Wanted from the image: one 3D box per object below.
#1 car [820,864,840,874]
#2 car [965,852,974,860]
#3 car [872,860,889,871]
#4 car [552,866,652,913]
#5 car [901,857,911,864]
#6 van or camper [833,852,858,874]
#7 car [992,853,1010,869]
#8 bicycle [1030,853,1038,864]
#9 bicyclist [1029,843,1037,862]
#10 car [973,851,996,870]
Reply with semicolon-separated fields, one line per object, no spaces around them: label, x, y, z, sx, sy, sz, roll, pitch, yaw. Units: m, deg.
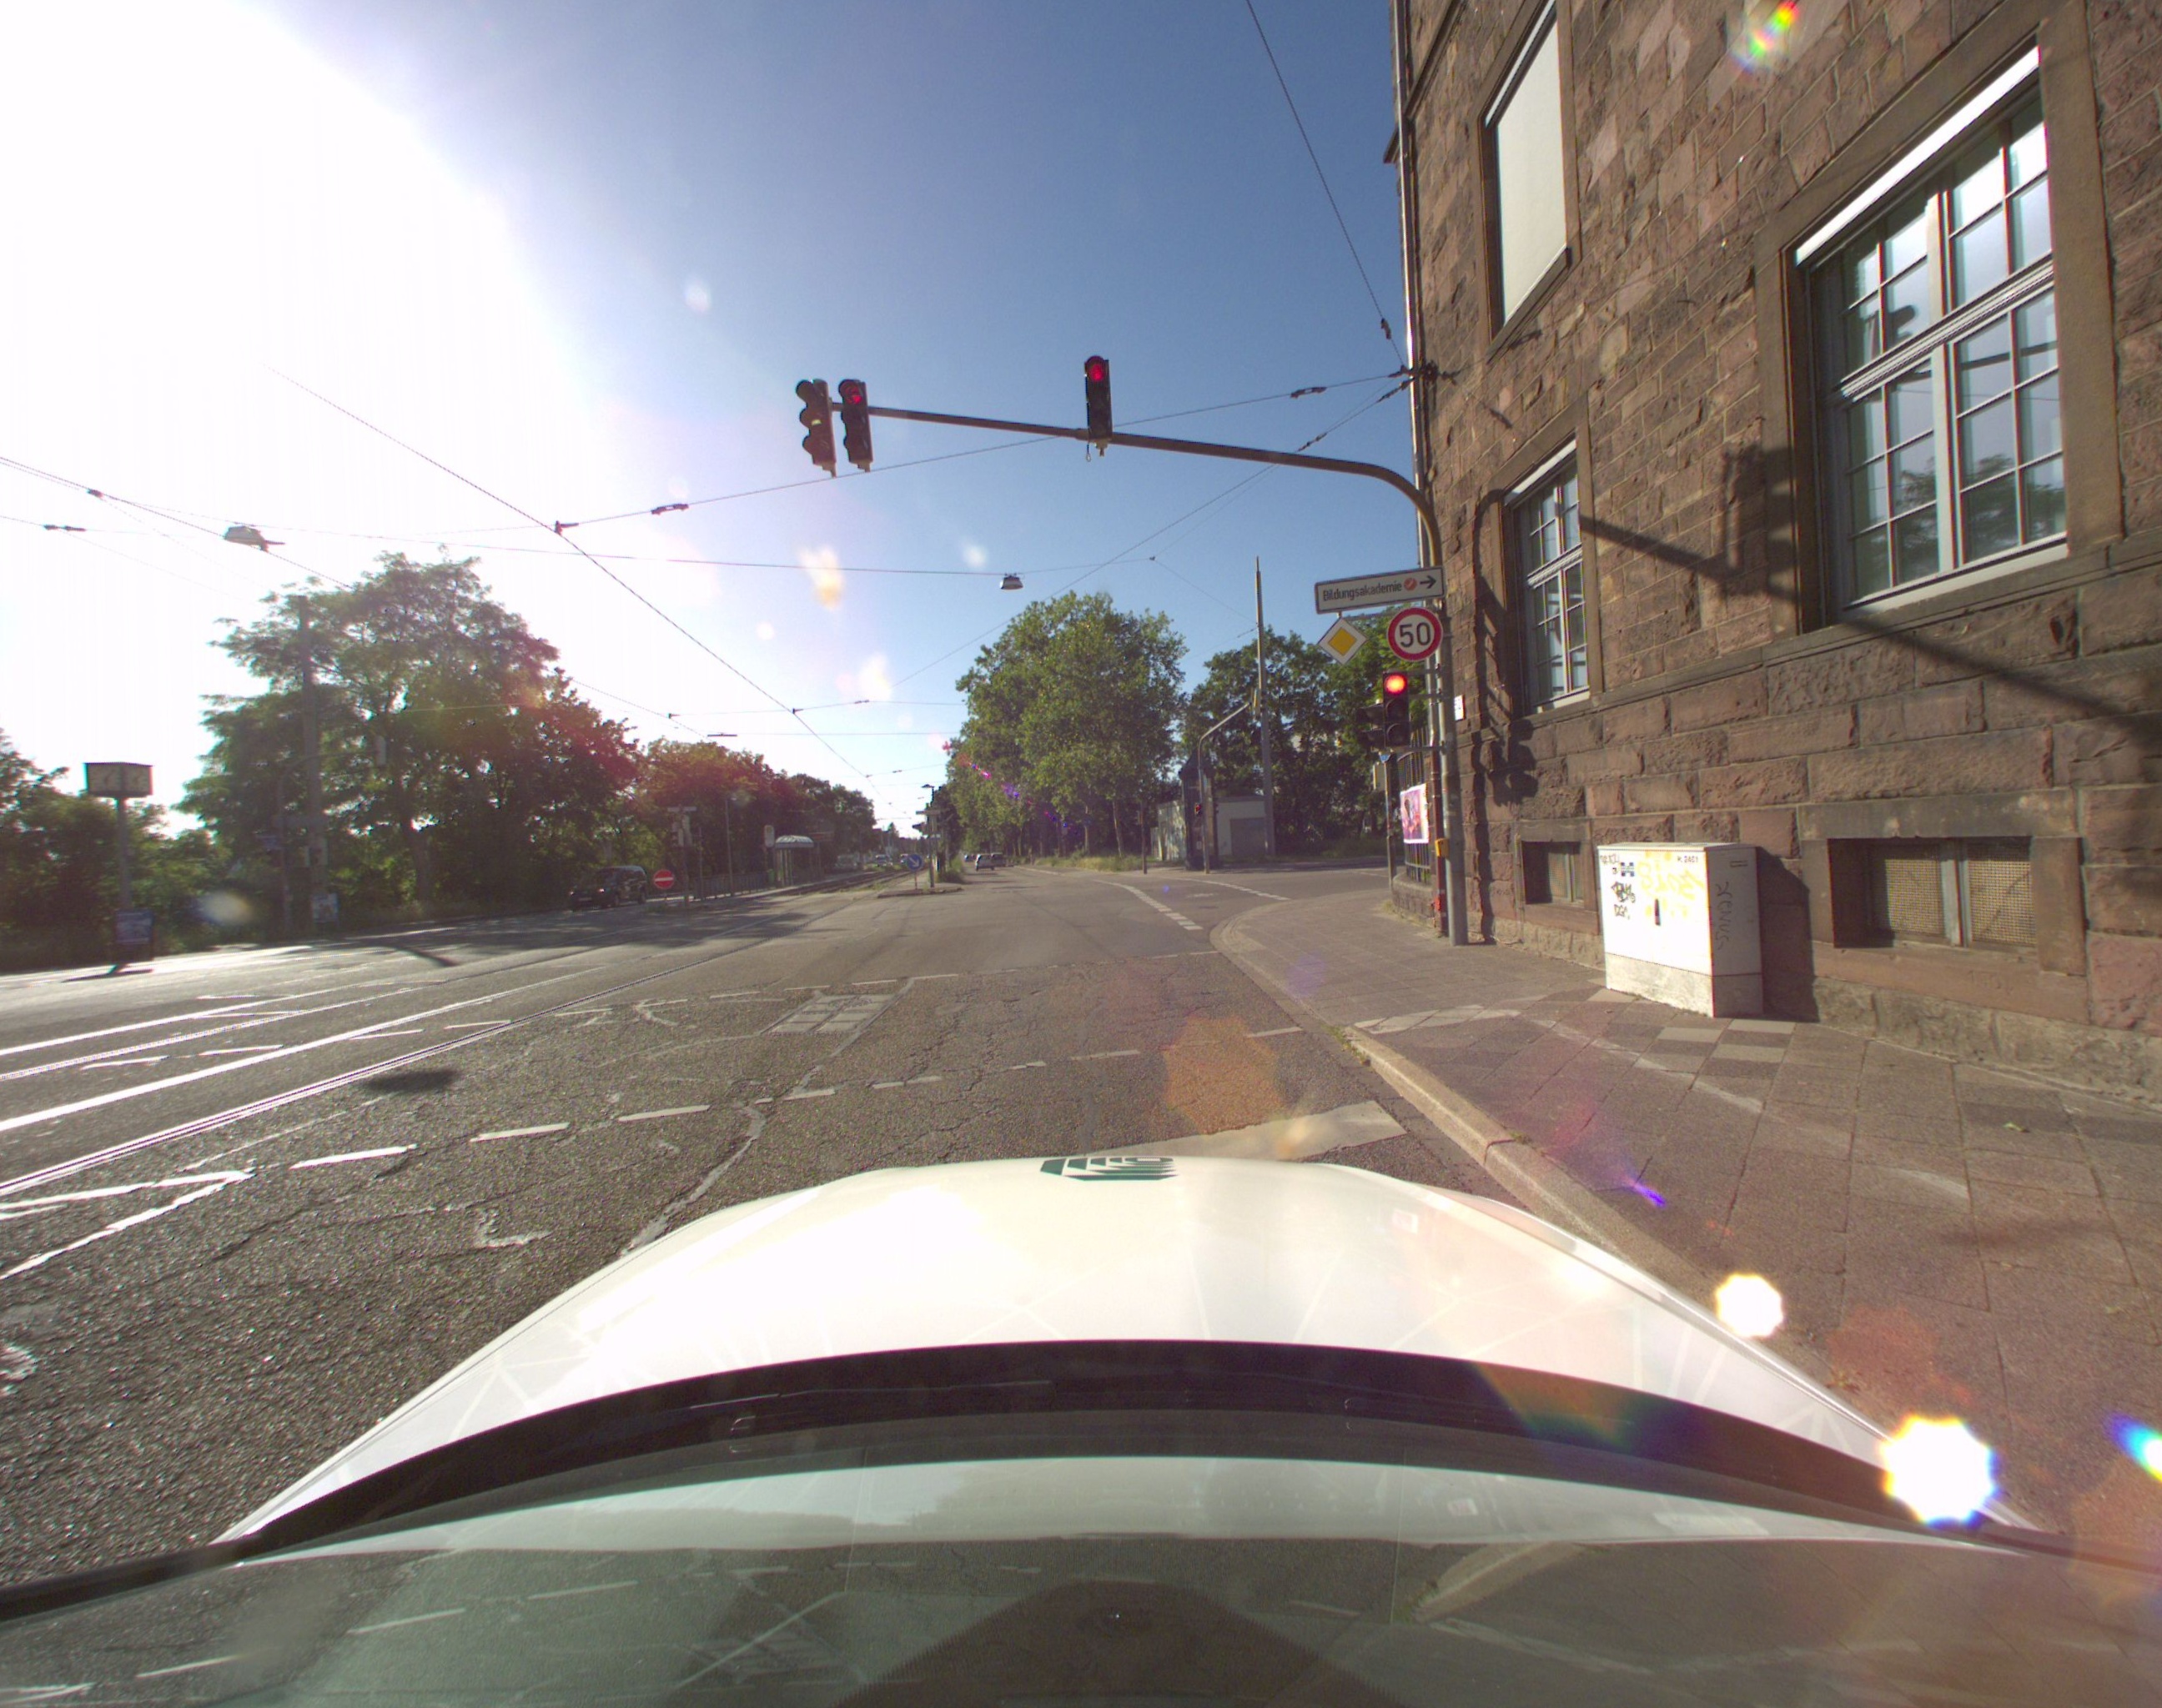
car;-34.388;2.032;111.588;1.919;1.266;3.991;-4;0;-7
car;-24.445;0.519;178.360;1.750;1.604;3.569;-4;1;-9
car;-31.508;1.762;128.090;1.919;1.567;3.991;-4;0;-7
car;-20.767;1.470;35.557;1.994;1.767;5.014;-4;0;-9
car;-40.648;1.504;189.531;1.994;1.469;4.361;-3;0;-10
van or camper;-35.842;1.271;124.209;2.589;3.106;6.768;-4;0;-9
car;-8.694;0.706;88.035;1.750;1.604;3.739;-2;0;-9
bicycle;-4.476;0.417;76.908;0.536;1.066;1.428;-4;0;-10
bicyclist;-4.506;-0.139;76.817;0.534;1.769;0.710;-4;0;-11
car;-8.459;0.543;71.182;1.867;1.486;3.545;-3;0;-8
